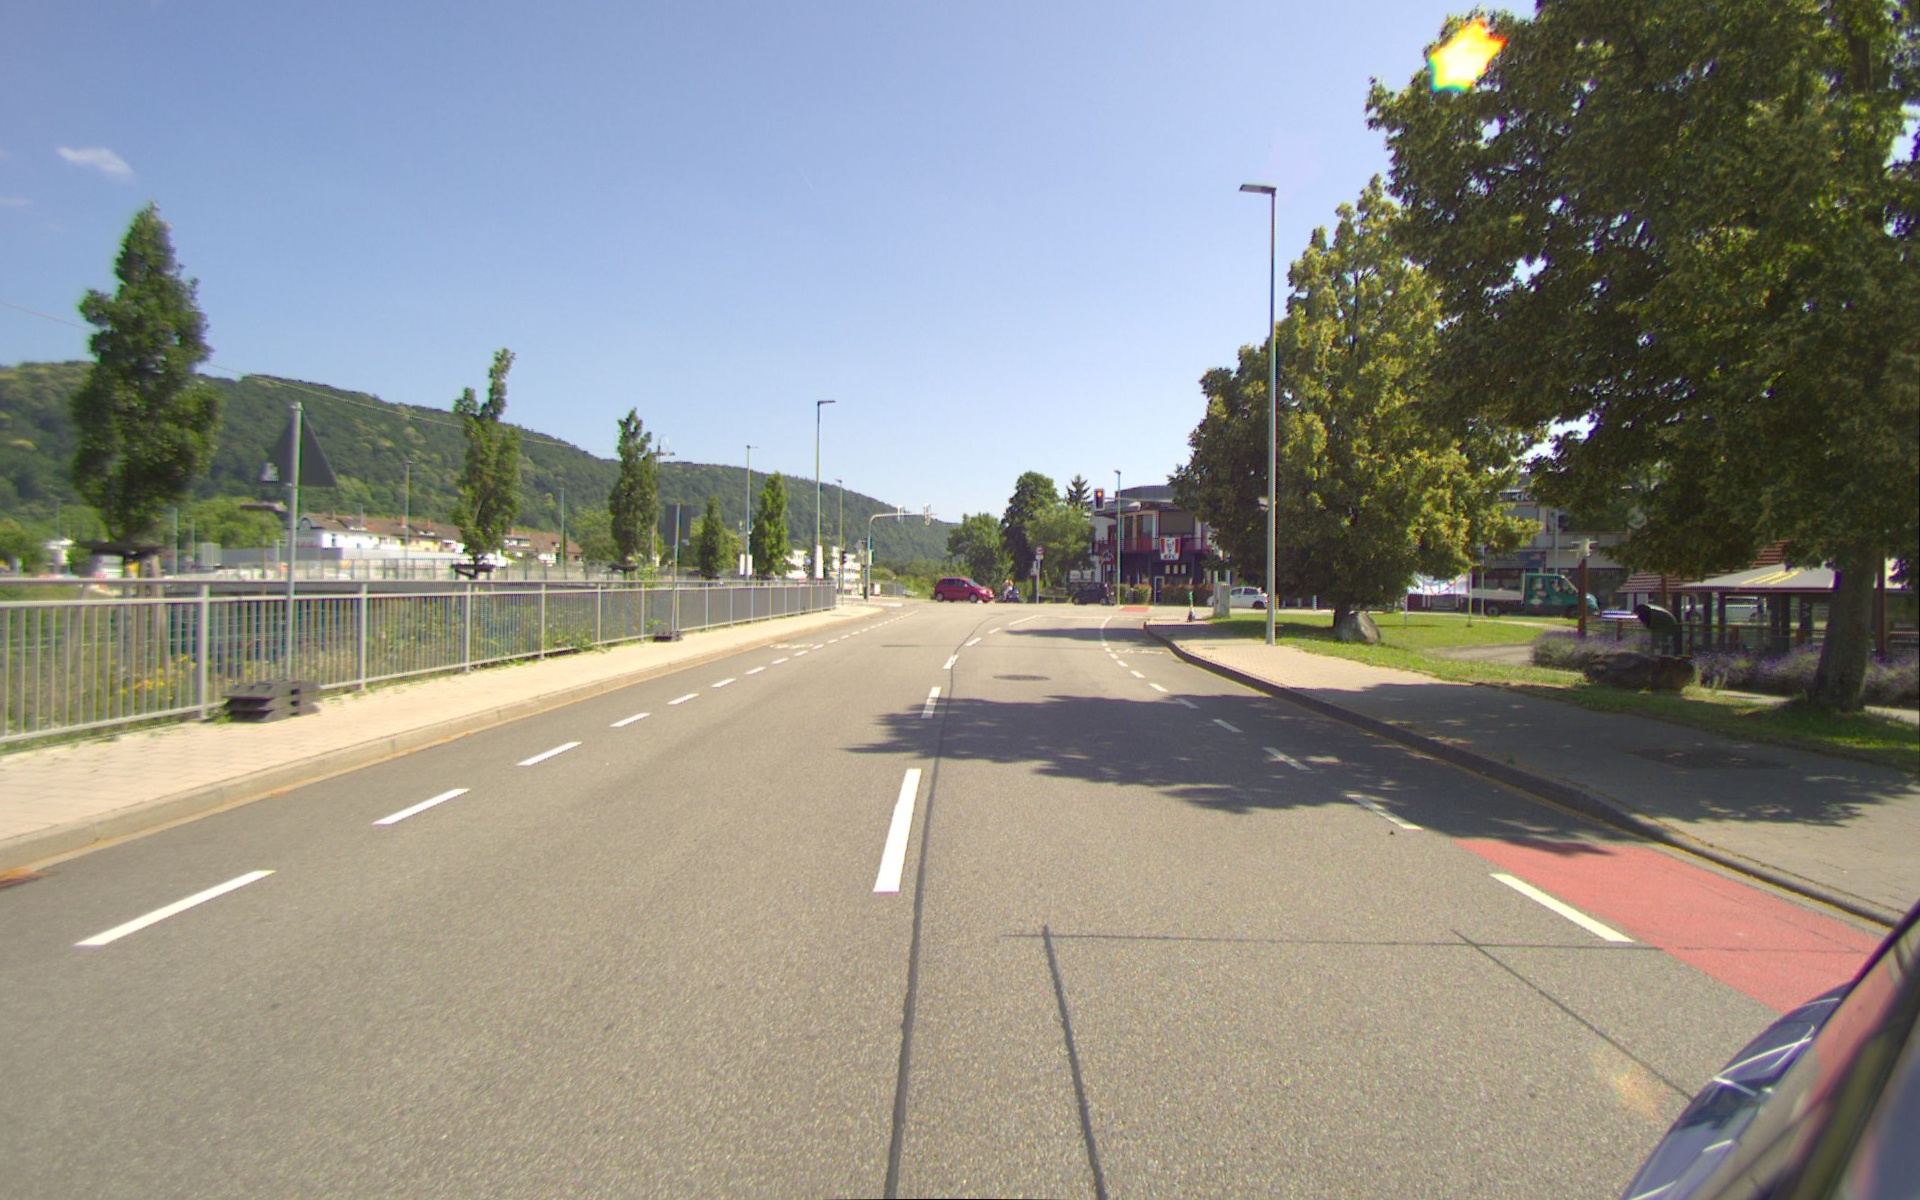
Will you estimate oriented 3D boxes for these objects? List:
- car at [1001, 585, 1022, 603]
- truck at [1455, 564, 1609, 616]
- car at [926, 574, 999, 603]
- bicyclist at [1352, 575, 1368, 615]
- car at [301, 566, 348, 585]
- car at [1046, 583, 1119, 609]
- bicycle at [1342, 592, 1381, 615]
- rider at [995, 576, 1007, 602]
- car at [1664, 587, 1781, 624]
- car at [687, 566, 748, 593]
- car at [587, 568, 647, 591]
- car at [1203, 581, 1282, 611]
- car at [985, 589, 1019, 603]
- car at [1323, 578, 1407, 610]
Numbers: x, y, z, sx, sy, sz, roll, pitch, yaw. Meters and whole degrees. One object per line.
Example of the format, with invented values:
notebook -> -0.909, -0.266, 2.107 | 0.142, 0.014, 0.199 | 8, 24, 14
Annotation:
car -> 4.643, -0.588, 91.364 | 1.579, 1.555, 3.685 | 1, 1, -2
truck -> 27.583, -0.521, 49.135 | 6.325, 2.405, 2.363 | 1, 0, 27
car -> 0.155, -0.773, 65.142 | 4.326, 1.699, 1.817 | 1, 4, 26
bicyclist -> 19.643, -0.273, 49.695 | 0.651, 1.919, 0.547 | 1, 3, 28
car -> -60.003, -2.361, 95.493 | 4.543, 1.671, 1.813 | 1, 4, 30
car -> 7.918, -0.259, 65.453 | 4.329, 1.509, 1.815 | 1, 4, 28
bicycle -> 19.694, 0.177, 49.689 | 1.710, 1.055, 0.577 | 2, 4, 28
rider -> 2.869, -0.769, 71.404 | 0.679, 1.835, 0.543 | 1, 4, 27
car -> 37.978, 0.255, 50.543 | 4.329, 1.646, 1.816 | 1, 4, 27
car -> -18.127, -1.556, 75.549 | 4.332, 1.871, 1.814 | 1, 4, 29
car -> -26.886, -1.617, 79.373 | 4.729, 1.671, 1.813 | 2, 4, 31
car -> 17.050, -0.278, 61.168 | 4.329, 1.646, 1.815 | 1, 4, 28
car -> 2.985, -0.285, 71.411 | 2.360, 0.913, 0.571 | 1, 4, 27
car -> 23.241, -0.351, 58.074 | 4.329, 1.646, 1.816 | 1, 4, 27
